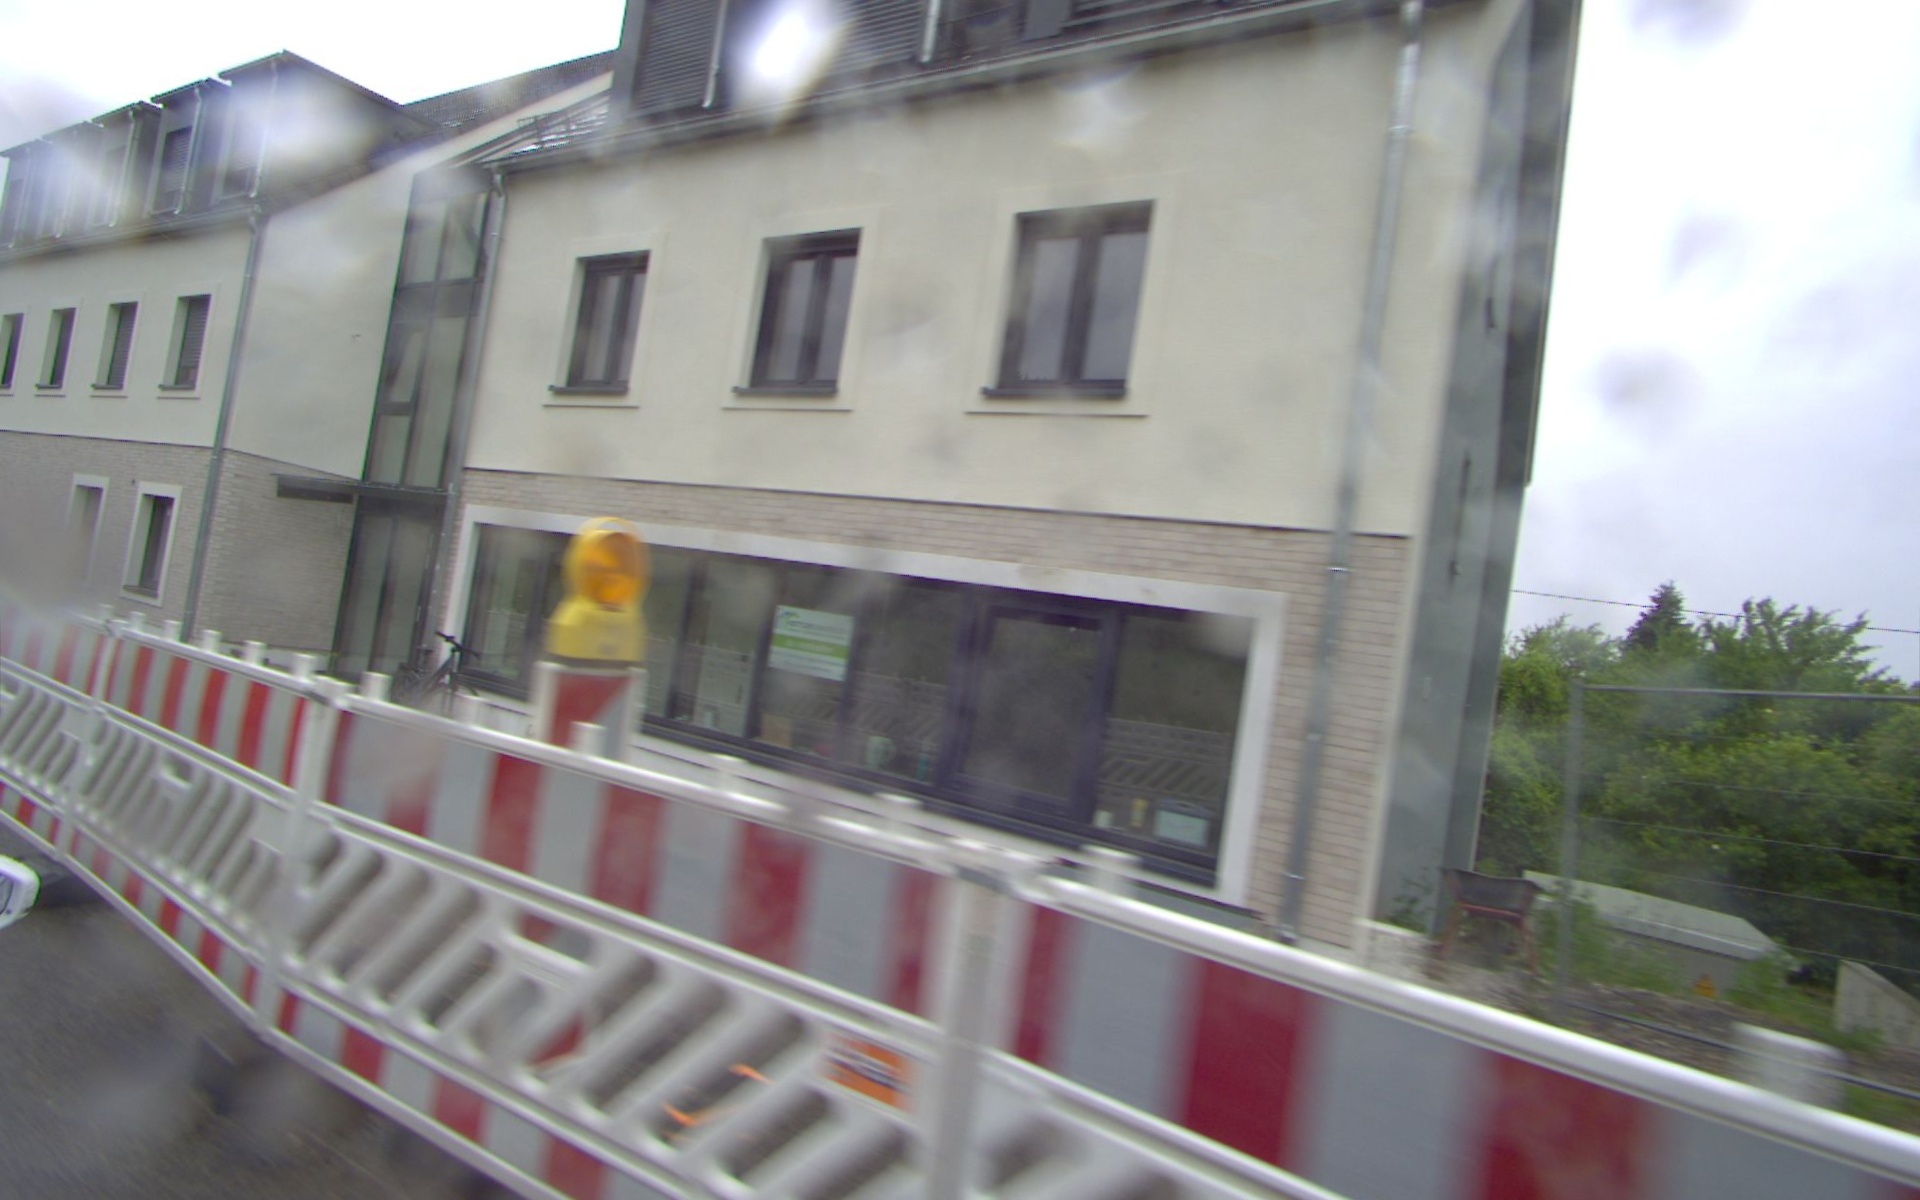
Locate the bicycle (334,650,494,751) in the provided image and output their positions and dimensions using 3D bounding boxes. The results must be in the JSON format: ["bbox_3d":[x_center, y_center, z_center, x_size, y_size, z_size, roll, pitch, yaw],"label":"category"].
[{"bbox_3d":[-5.360,0.952,9.841,1.710,0.706,0.496,7,2,29],"label":"bicycle"}]
